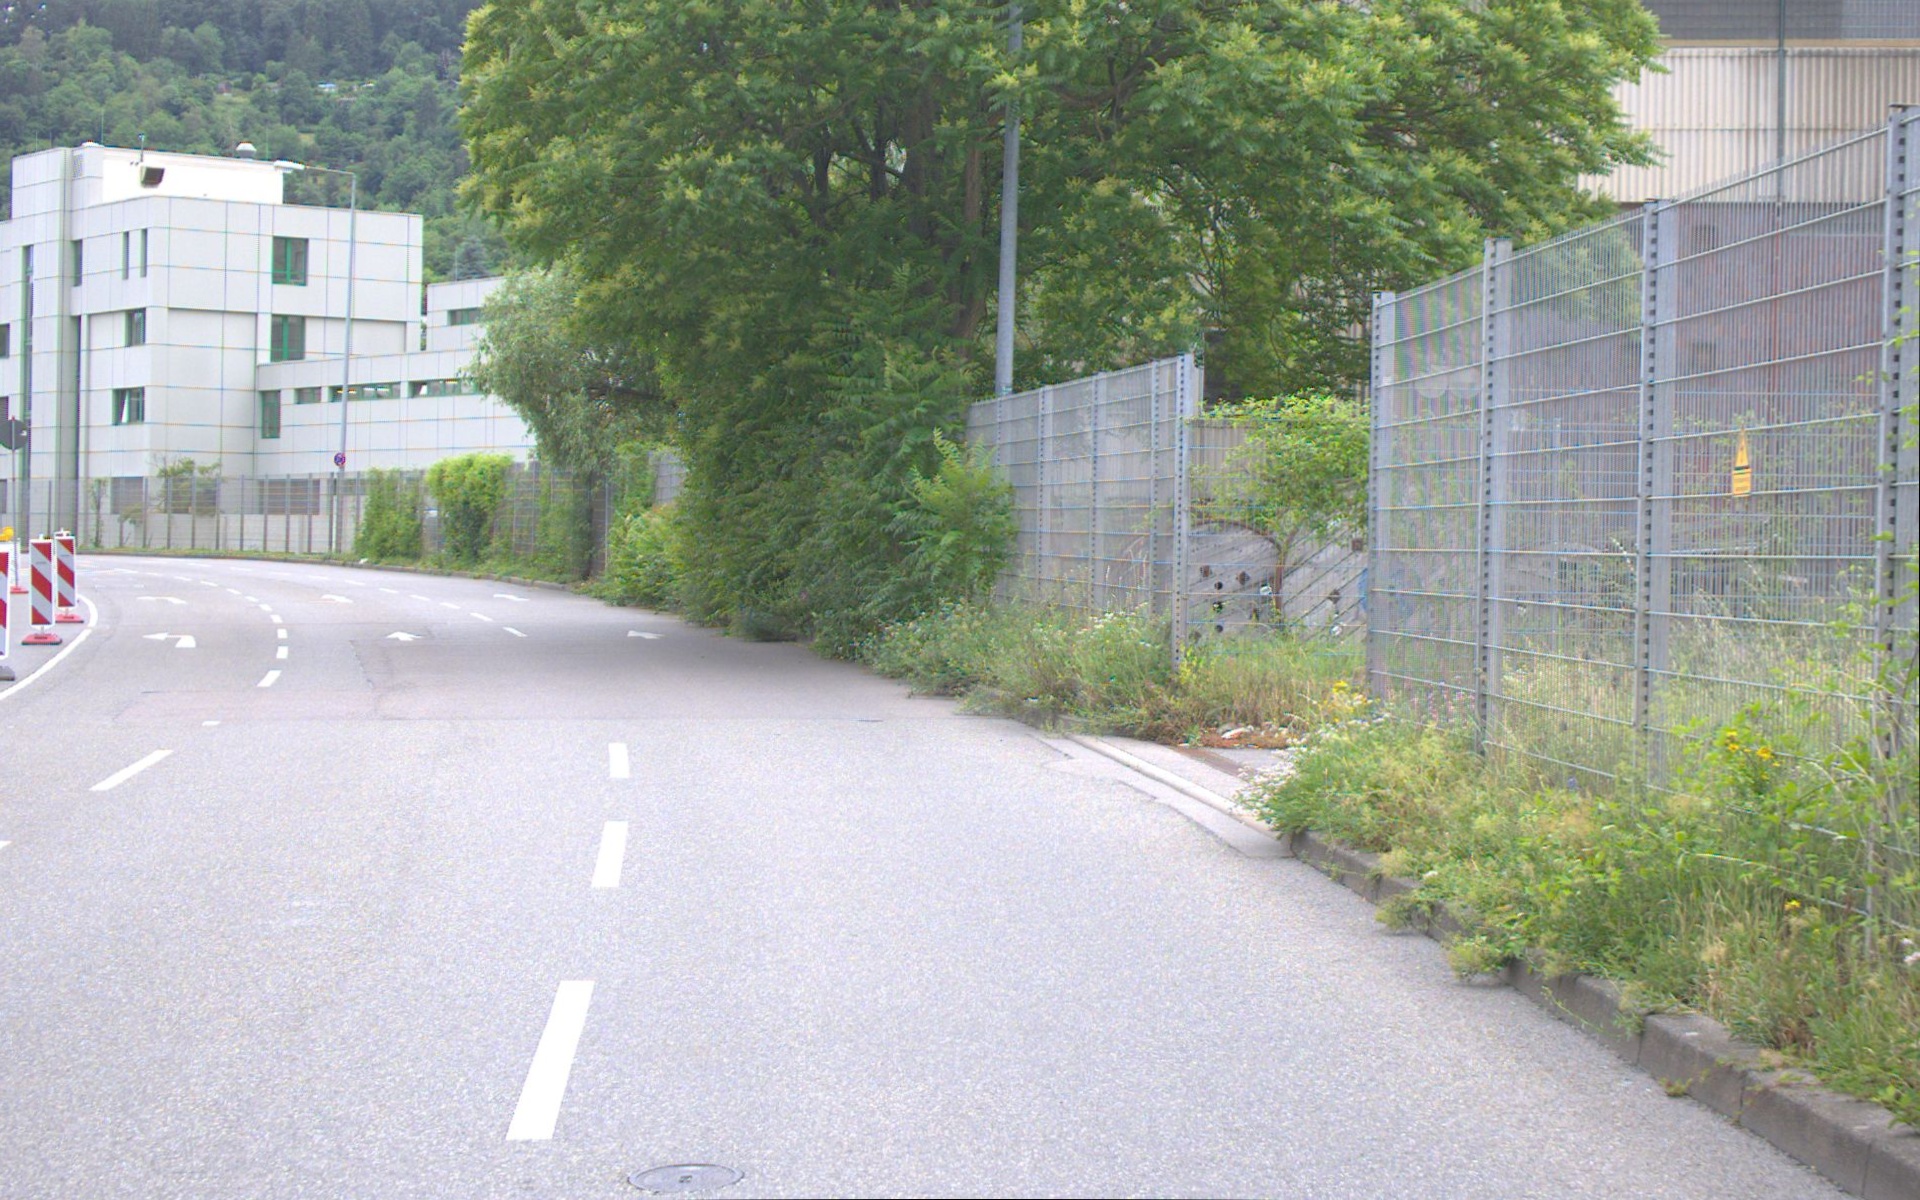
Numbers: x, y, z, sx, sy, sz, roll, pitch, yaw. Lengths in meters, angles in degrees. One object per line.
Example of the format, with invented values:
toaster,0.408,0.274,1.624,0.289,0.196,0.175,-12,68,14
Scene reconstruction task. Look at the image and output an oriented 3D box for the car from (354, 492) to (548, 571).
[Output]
car,-15.707,-2.122,105.974,6.162,2.255,1.996,2,0,35
